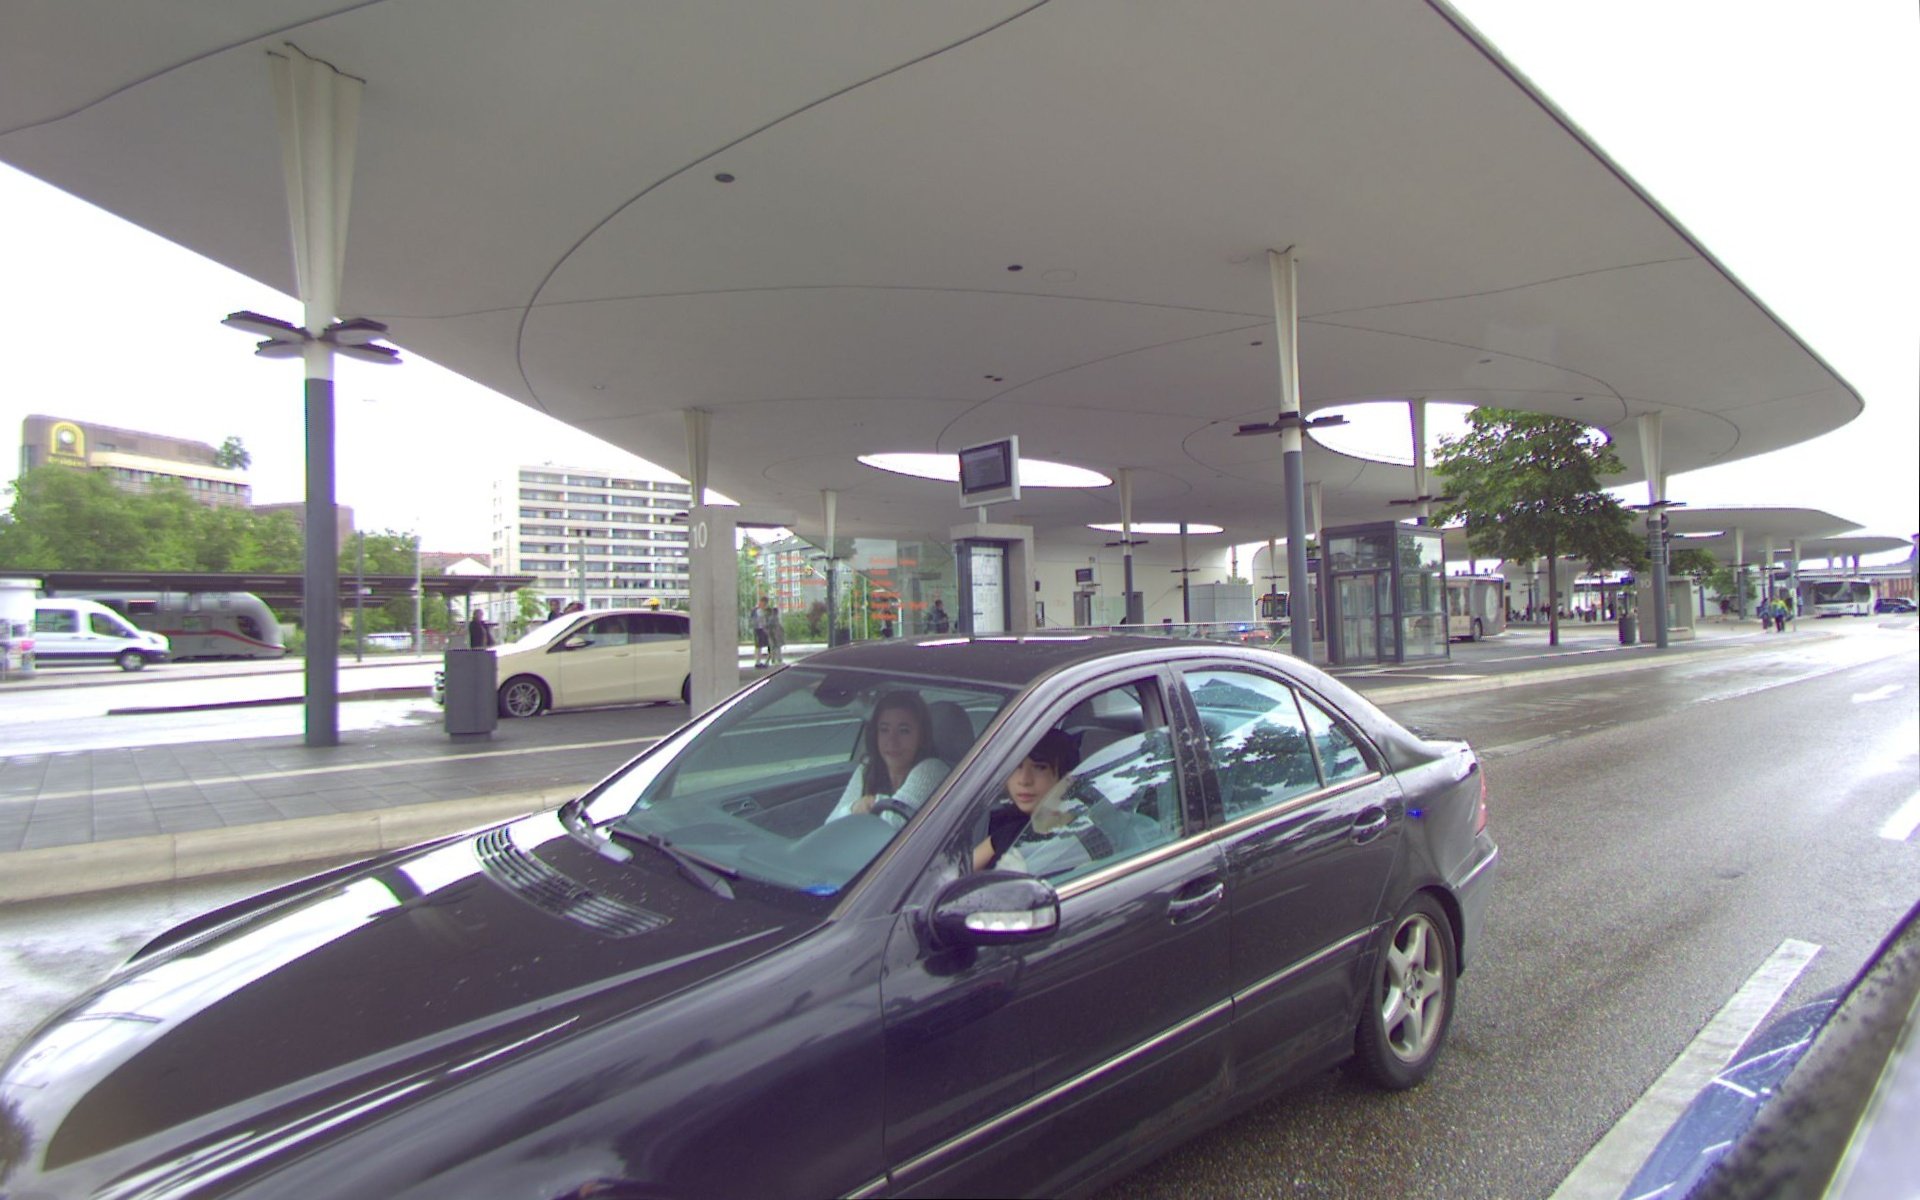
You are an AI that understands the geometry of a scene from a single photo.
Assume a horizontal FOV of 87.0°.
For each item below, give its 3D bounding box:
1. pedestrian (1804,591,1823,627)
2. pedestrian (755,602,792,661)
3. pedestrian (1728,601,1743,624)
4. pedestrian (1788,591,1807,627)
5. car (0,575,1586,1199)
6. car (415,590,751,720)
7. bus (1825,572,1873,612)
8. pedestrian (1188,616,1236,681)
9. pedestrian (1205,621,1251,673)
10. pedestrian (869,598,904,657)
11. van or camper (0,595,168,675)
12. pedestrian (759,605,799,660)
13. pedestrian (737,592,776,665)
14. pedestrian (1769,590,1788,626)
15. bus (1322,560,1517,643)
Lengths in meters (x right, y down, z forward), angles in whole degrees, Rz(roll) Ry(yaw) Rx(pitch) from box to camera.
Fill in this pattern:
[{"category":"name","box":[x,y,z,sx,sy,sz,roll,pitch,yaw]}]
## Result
[{"category":"pedestrian","box":[38.649,0.401,45.832,0.543,1.645,0.556,0,-1,-41]},{"category":"pedestrian","box":[-5.360,0.899,29.097,0.646,1.654,0.854,-1,-1,43]},{"category":"pedestrian","box":[56.104,0.912,73.223,0.740,1.651,0.723,0,-1,-41]},{"category":"pedestrian","box":[38.351,0.400,46.347,0.543,1.645,0.556,0,-1,-41]},{"category":"car","box":[0.055,0.806,3.063,4.358,1.499,1.748,-3,-4,-40]},{"category":"car","box":[-5.519,0.748,15.141,4.356,1.671,1.803,0,-3,-41]},{"category":"bus","box":[75.365,-0.673,85.717,2.666,3.169,9.565,-1,-1,43]},{"category":"pedestrian","box":[5.127,0.966,20.580,0.657,1.268,0.692,0,-1,-41]},{"category":"pedestrian","box":[5.224,0.903,19.724,0.626,0.974,0.622,0,-1,-41]},{"category":"pedestrian","box":[-1.963,0.720,27.057,0.680,1.564,0.658,0,-1,-40]},{"category":"van or camper","box":[-29.785,1.100,33.233,5.868,2.495,2.106,0,-1,-41]},{"category":"pedestrian","box":[-5.057,0.898,28.309,0.732,1.497,0.825,-1,-1,43]},{"category":"pedestrian","box":[-4.888,0.671,24.311,0.680,1.728,0.658,0,-1,-40]},{"category":"pedestrian","box":[37.950,0.382,46.936,0.577,1.645,0.576,0,-1,-41]},{"category":"bus","box":[20.069,0.033,43.608,12.142,3.146,3.000,0,-1,-42]}]
